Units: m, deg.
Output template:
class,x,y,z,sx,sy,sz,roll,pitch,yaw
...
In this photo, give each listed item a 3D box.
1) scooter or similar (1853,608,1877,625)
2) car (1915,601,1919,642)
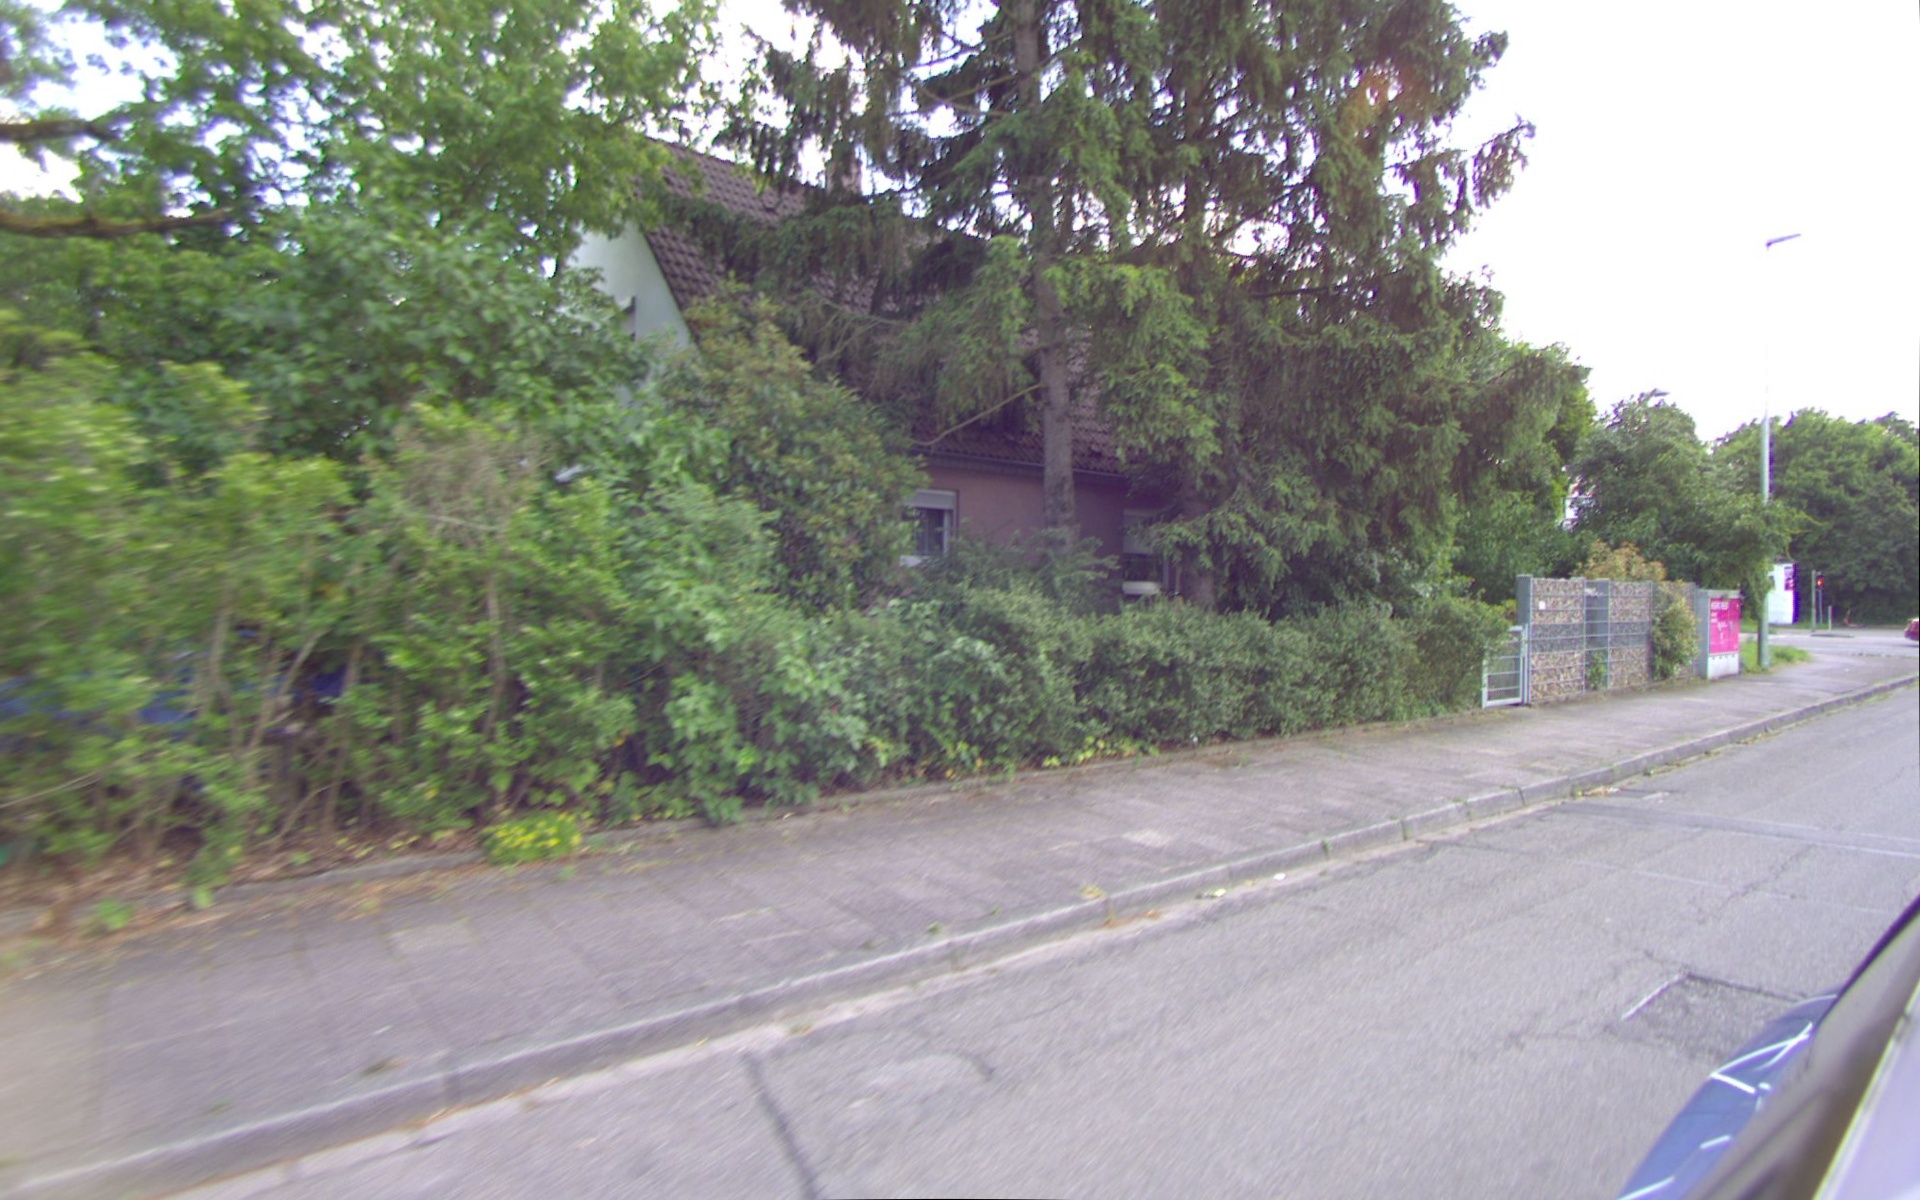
class,x,y,z,sx,sy,sz,roll,pitch,yaw
scooter or similar,53.846,0.955,60.238,0.292,0.953,1.033,-2,3,-44
car,37.987,0.841,36.829,4.512,1.480,1.705,1,3,39
